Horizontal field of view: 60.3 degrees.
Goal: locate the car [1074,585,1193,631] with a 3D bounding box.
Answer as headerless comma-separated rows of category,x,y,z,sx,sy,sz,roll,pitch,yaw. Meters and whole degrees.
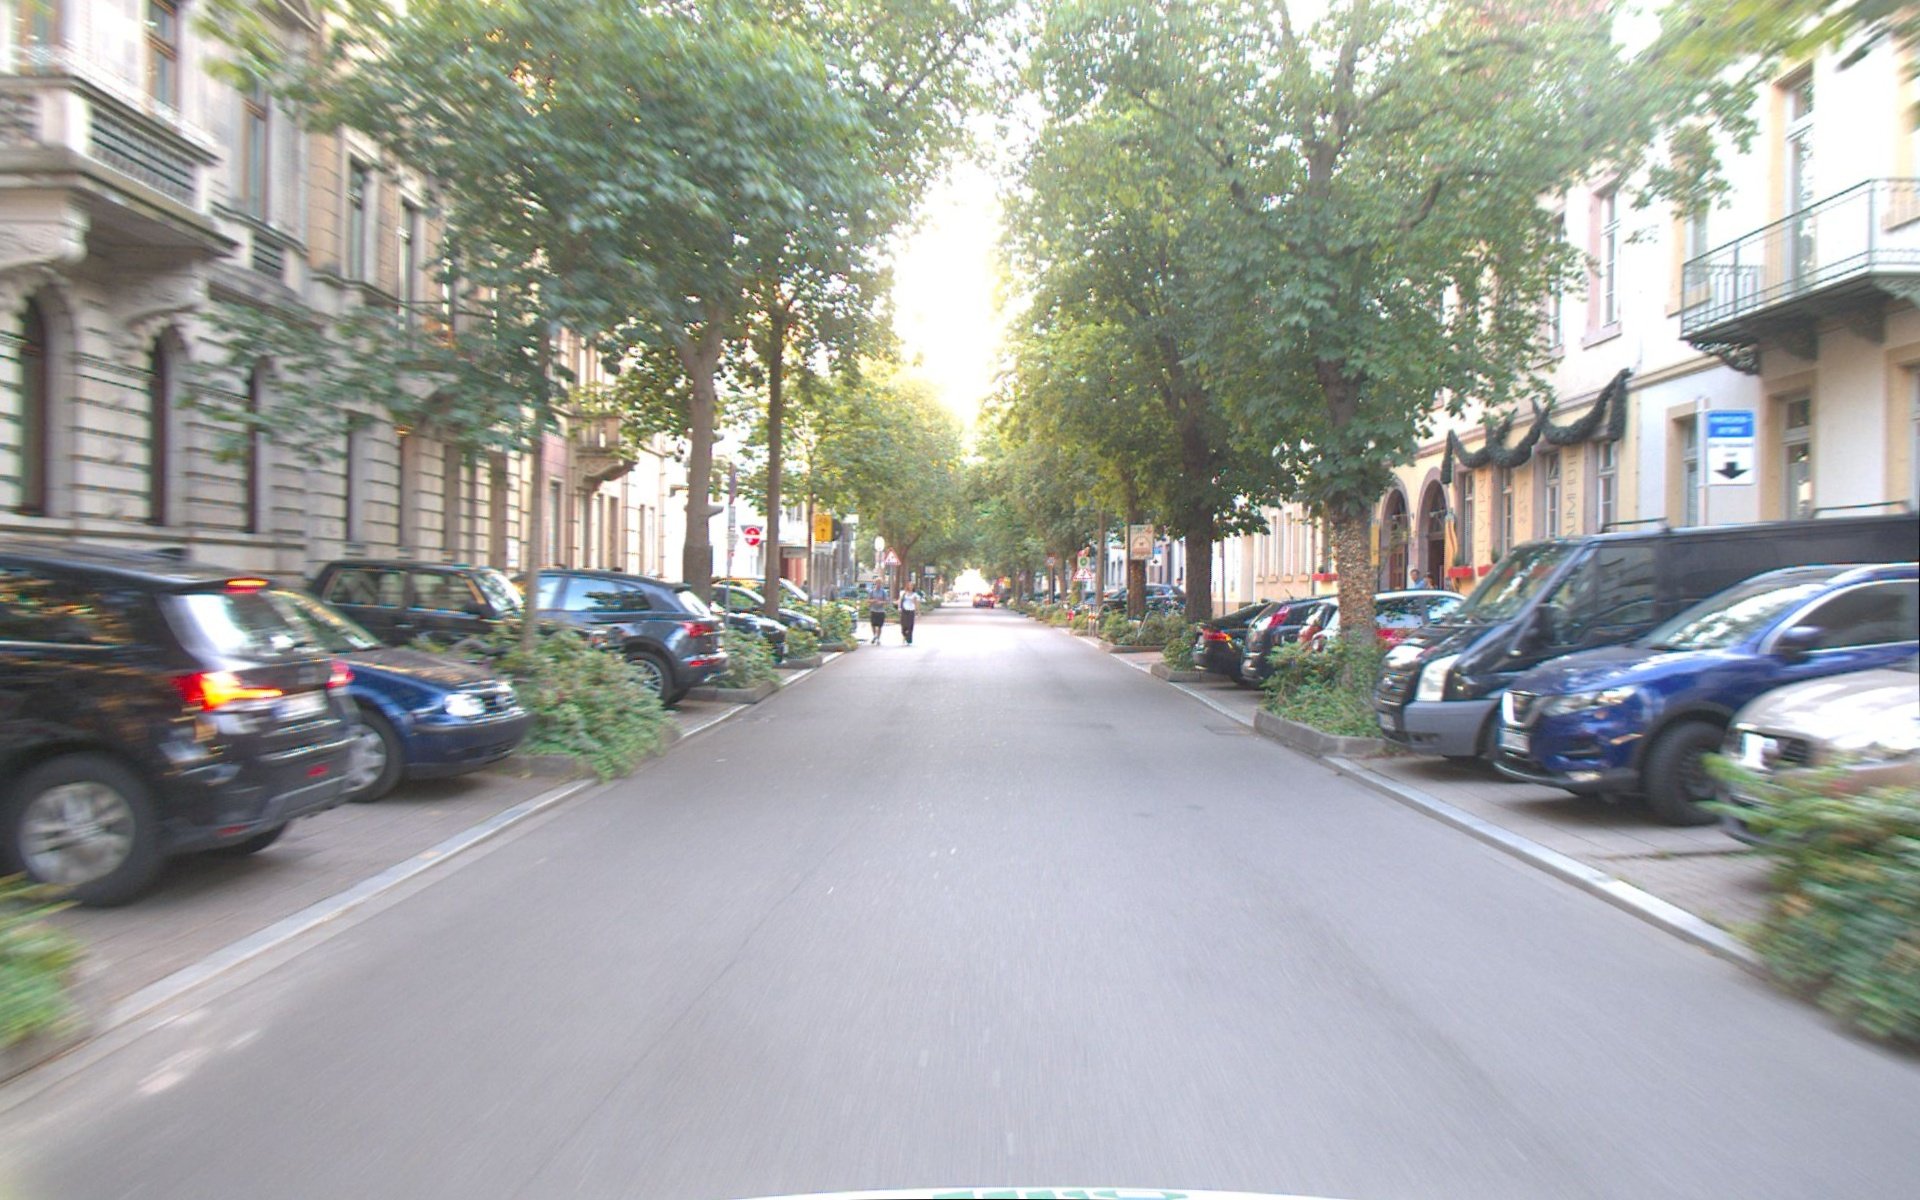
car,6.496,0.292,62.189,4.334,1.685,1.900,0,0,2

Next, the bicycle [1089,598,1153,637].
bicycle,4.914,0.537,50.489,1.804,1.155,0.743,-1,0,-10

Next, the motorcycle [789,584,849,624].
motorcycle,-5.461,0.138,64.117,2.174,1.507,0.855,1,1,-19

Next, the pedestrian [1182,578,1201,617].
pedestrian,9.559,-0.107,68.321,0.641,1.563,0.831,0,0,1

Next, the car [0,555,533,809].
car,-5.234,0.514,11.684,3.884,1.411,1.765,4,1,1

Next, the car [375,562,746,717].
car,-4.893,0.453,20.707,4.115,1.701,1.908,2,1,0

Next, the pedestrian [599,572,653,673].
pedestrian,-5.959,0.389,29.523,0.719,1.769,0.671,1,0,7

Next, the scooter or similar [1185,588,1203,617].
scooter or similar,9.549,0.111,67.599,0.641,1.173,0.831,0,0,1

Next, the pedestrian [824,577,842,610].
pedestrian,-6.980,-0.355,90.781,0.689,1.788,0.739,1,-1,24

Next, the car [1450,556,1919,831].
car,5.788,0.553,11.555,4.072,1.606,1.969,-3,0,-1

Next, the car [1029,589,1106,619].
car,6.503,0.208,100.699,4.619,1.740,1.950,1,1,2

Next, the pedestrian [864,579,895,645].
pedestrian,-2.152,0.321,44.439,0.778,1.767,0.831,0,0,-1

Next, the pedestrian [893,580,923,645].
pedestrian,-1.384,0.329,44.320,0.778,1.700,0.831,0,0,-1

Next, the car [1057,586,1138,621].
car,6.107,0.145,73.866,3.413,1.478,1.899,-1,0,-2

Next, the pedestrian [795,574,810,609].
pedestrian,-8.132,-0.429,85.466,0.689,1.758,0.905,1,0,0

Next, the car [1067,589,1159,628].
car,6.005,0.321,65.324,3.413,1.478,1.899,-1,0,-2

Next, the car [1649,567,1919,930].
car,5.902,0.595,8.502,3.885,1.606,1.851,-3,0,-1

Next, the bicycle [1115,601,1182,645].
bicycle,5.350,0.652,46.957,1.792,1.199,0.673,-1,0,-1

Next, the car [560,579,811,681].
car,-4.527,0.495,27.727,3.865,1.559,1.907,1,0,-1

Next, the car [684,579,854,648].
car,-5.144,0.352,44.993,4.335,1.680,1.873,2,1,1

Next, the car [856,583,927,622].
car,-4.481,0.175,109.187,4.586,2.521,2.000,1,0,0

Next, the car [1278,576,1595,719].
car,6.149,0.600,21.634,3.604,1.606,1.714,-3,0,1

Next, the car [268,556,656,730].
car,-5.422,0.444,18.351,3.723,1.701,1.714,2,1,-1

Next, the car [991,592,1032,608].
car,5.389,0.028,172.131,4.181,1.593,1.963,-1,0,0

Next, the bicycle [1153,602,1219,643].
bicycle,6.534,0.656,47.865,1.759,1.148,0.663,-1,0,-6

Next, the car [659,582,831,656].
car,-4.830,0.413,37.580,3.617,1.483,1.872,2,1,-1

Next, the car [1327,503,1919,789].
car,5.716,0.354,14.198,4.594,2.046,2.037,-3,0,-1

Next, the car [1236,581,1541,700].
car,6.198,0.566,24.233,3.906,1.462,1.926,-3,0,-1

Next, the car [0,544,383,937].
car,-5.167,0.517,8.176,3.885,1.624,1.781,4,0,0

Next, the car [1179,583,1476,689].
car,5.865,0.552,26.761,4.312,1.418,1.885,-3,0,-2

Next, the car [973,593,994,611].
car,2.156,0.174,155.423,1.916,1.593,4.282,-1,0,0

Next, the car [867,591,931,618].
car,-4.478,0.322,121.626,4.586,1.886,1.963,-1,0,0
